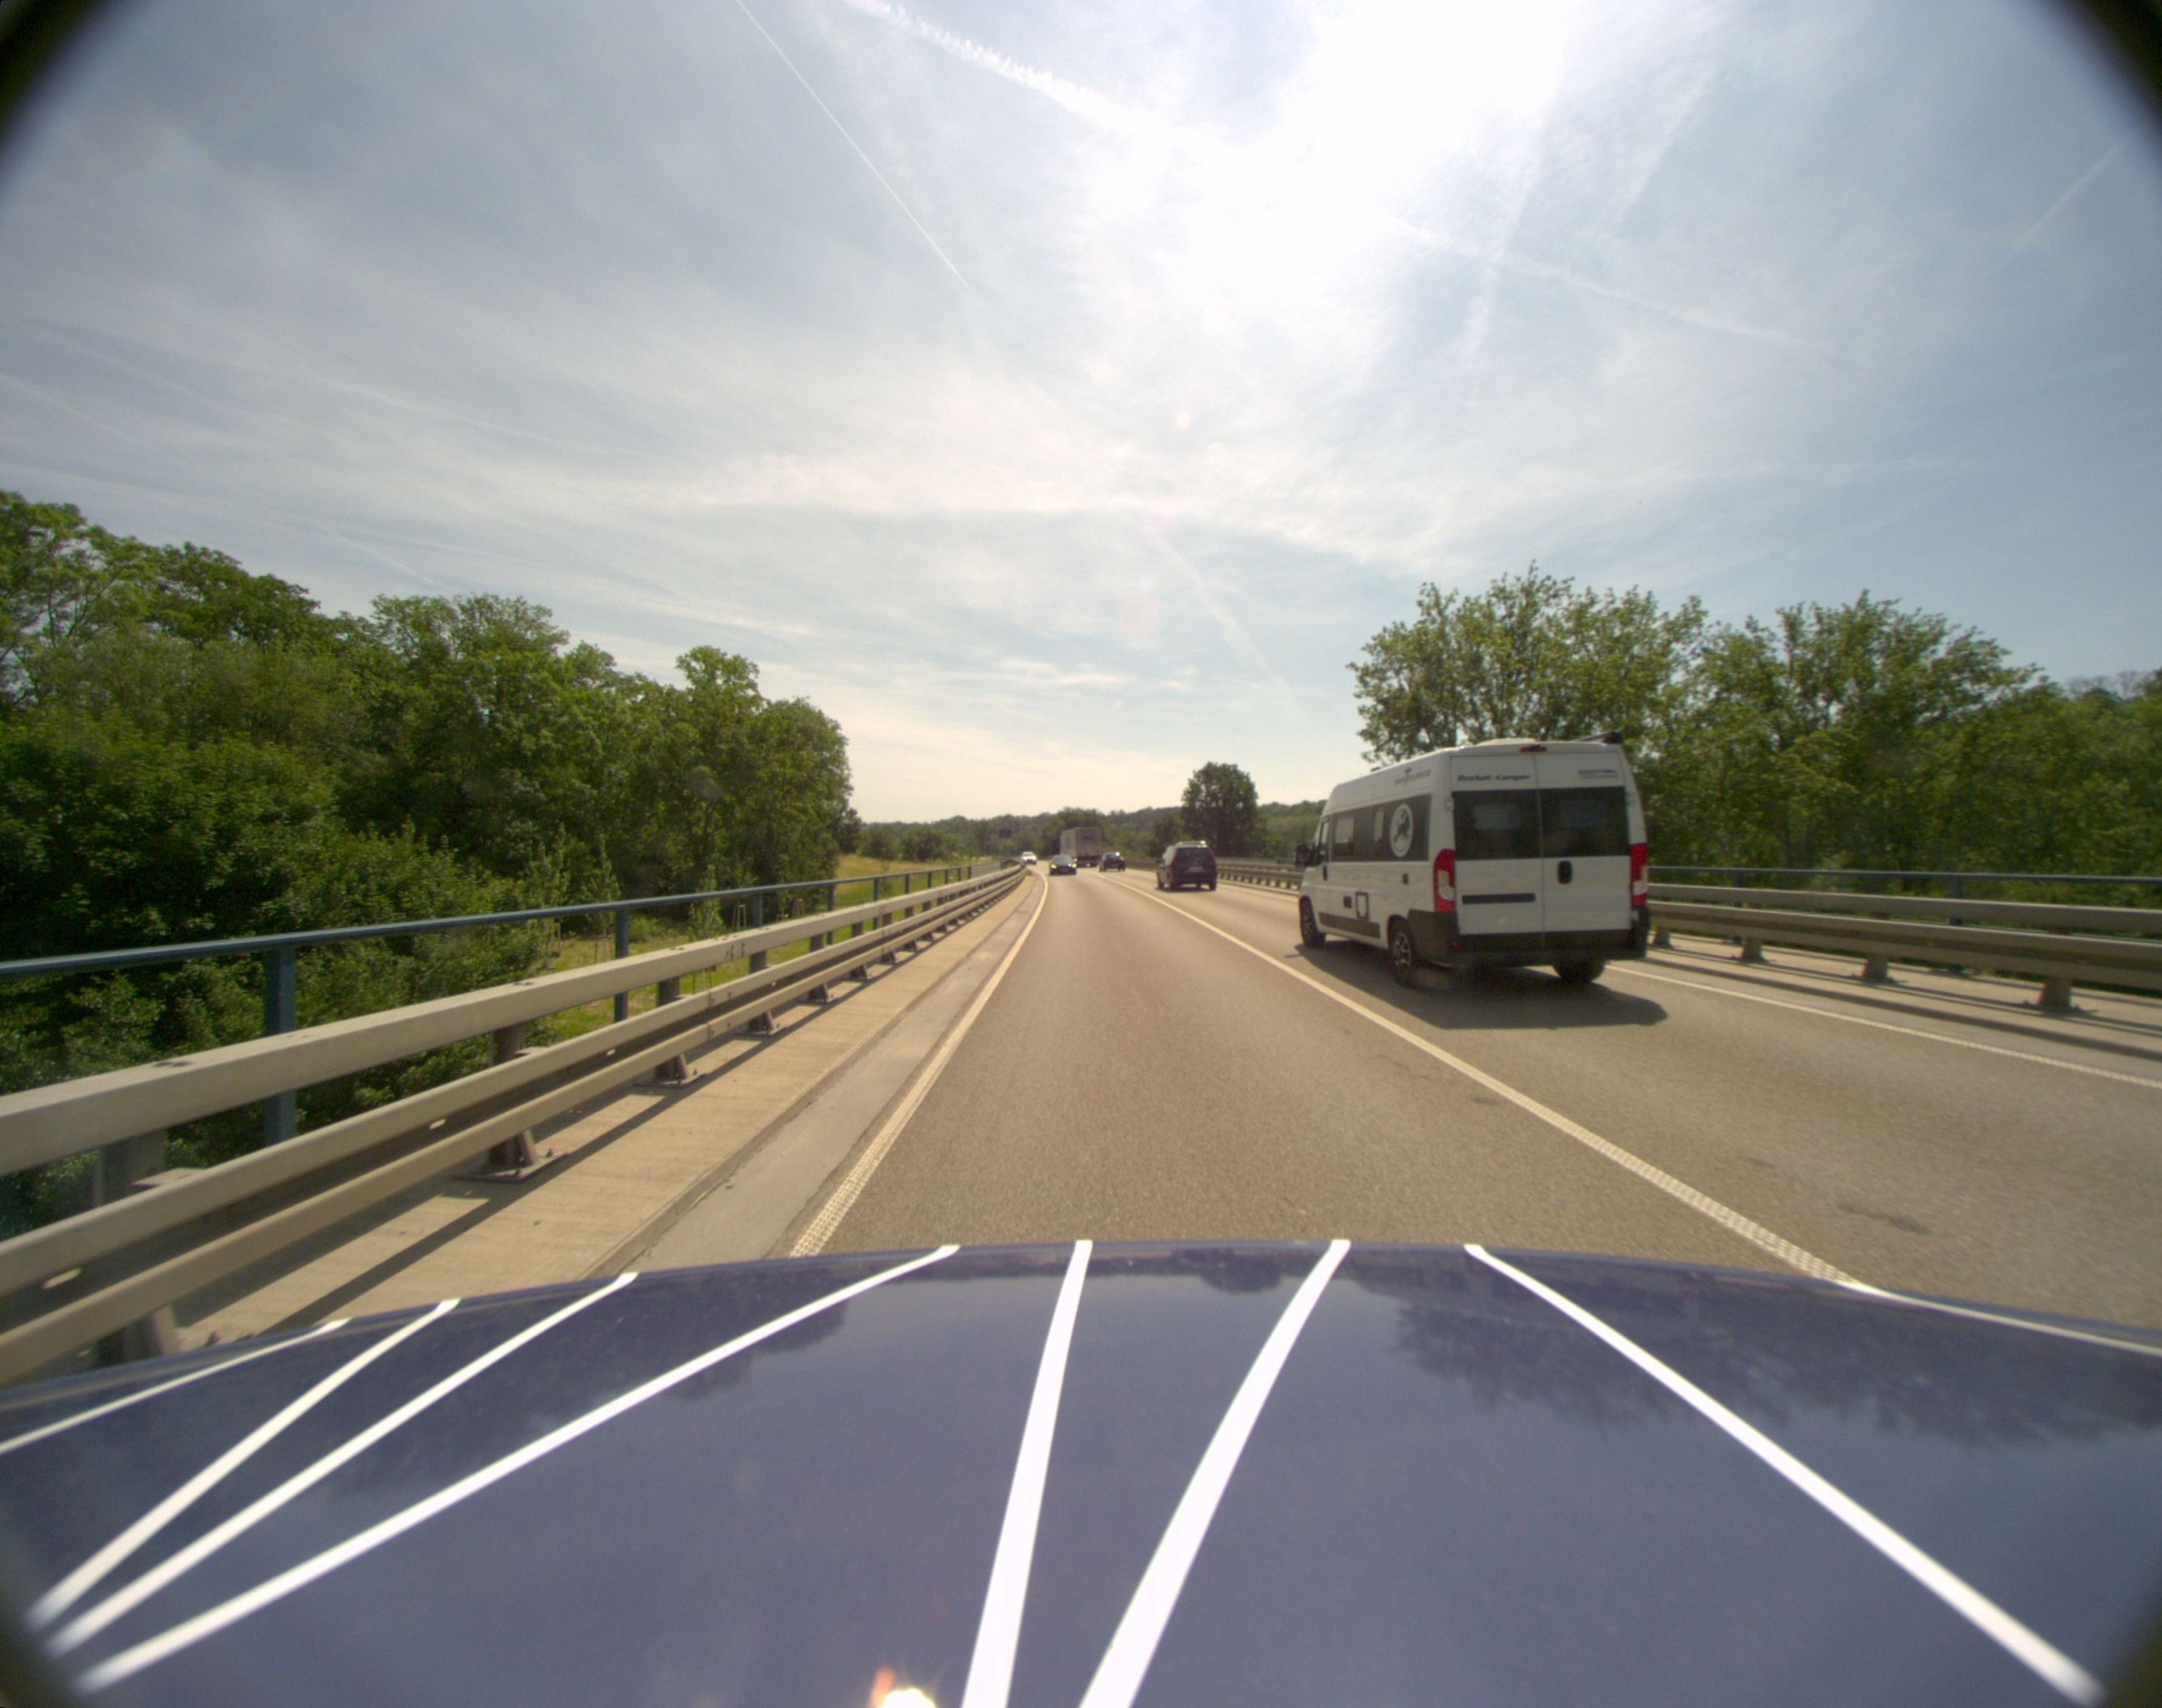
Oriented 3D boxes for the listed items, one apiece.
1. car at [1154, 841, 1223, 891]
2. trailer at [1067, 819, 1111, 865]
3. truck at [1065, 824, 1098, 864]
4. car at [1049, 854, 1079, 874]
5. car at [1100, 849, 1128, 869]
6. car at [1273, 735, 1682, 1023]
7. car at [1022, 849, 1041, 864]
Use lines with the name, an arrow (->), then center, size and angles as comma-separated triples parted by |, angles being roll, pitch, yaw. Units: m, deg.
car -> 4.190, 0.431, 30.332 | 1.857, 1.788, 4.976 | -2, 0, -1
trailer -> 0.626, -1.116, 78.330 | 2.862, 4.163, 14.490 | -2, 0, -5
truck -> 0.000, -1.069, 84.772 | 2.855, 4.136, 6.327 | -2, 0, -6
car -> -1.270, 0.681, 54.172 | 1.981, 1.333, 3.999 | -2, 0, -3
car -> 2.548, 0.393, 59.579 | 1.666, 1.449, 3.893 | -3, 0, -4
car -> 4.352, 0.174, 9.804 | 2.185, 2.545, 5.795 | -2, 1, 0
car -> -6.434, 0.290, 98.530 | 1.982, 1.779, 3.996 | -2, 1, -8
